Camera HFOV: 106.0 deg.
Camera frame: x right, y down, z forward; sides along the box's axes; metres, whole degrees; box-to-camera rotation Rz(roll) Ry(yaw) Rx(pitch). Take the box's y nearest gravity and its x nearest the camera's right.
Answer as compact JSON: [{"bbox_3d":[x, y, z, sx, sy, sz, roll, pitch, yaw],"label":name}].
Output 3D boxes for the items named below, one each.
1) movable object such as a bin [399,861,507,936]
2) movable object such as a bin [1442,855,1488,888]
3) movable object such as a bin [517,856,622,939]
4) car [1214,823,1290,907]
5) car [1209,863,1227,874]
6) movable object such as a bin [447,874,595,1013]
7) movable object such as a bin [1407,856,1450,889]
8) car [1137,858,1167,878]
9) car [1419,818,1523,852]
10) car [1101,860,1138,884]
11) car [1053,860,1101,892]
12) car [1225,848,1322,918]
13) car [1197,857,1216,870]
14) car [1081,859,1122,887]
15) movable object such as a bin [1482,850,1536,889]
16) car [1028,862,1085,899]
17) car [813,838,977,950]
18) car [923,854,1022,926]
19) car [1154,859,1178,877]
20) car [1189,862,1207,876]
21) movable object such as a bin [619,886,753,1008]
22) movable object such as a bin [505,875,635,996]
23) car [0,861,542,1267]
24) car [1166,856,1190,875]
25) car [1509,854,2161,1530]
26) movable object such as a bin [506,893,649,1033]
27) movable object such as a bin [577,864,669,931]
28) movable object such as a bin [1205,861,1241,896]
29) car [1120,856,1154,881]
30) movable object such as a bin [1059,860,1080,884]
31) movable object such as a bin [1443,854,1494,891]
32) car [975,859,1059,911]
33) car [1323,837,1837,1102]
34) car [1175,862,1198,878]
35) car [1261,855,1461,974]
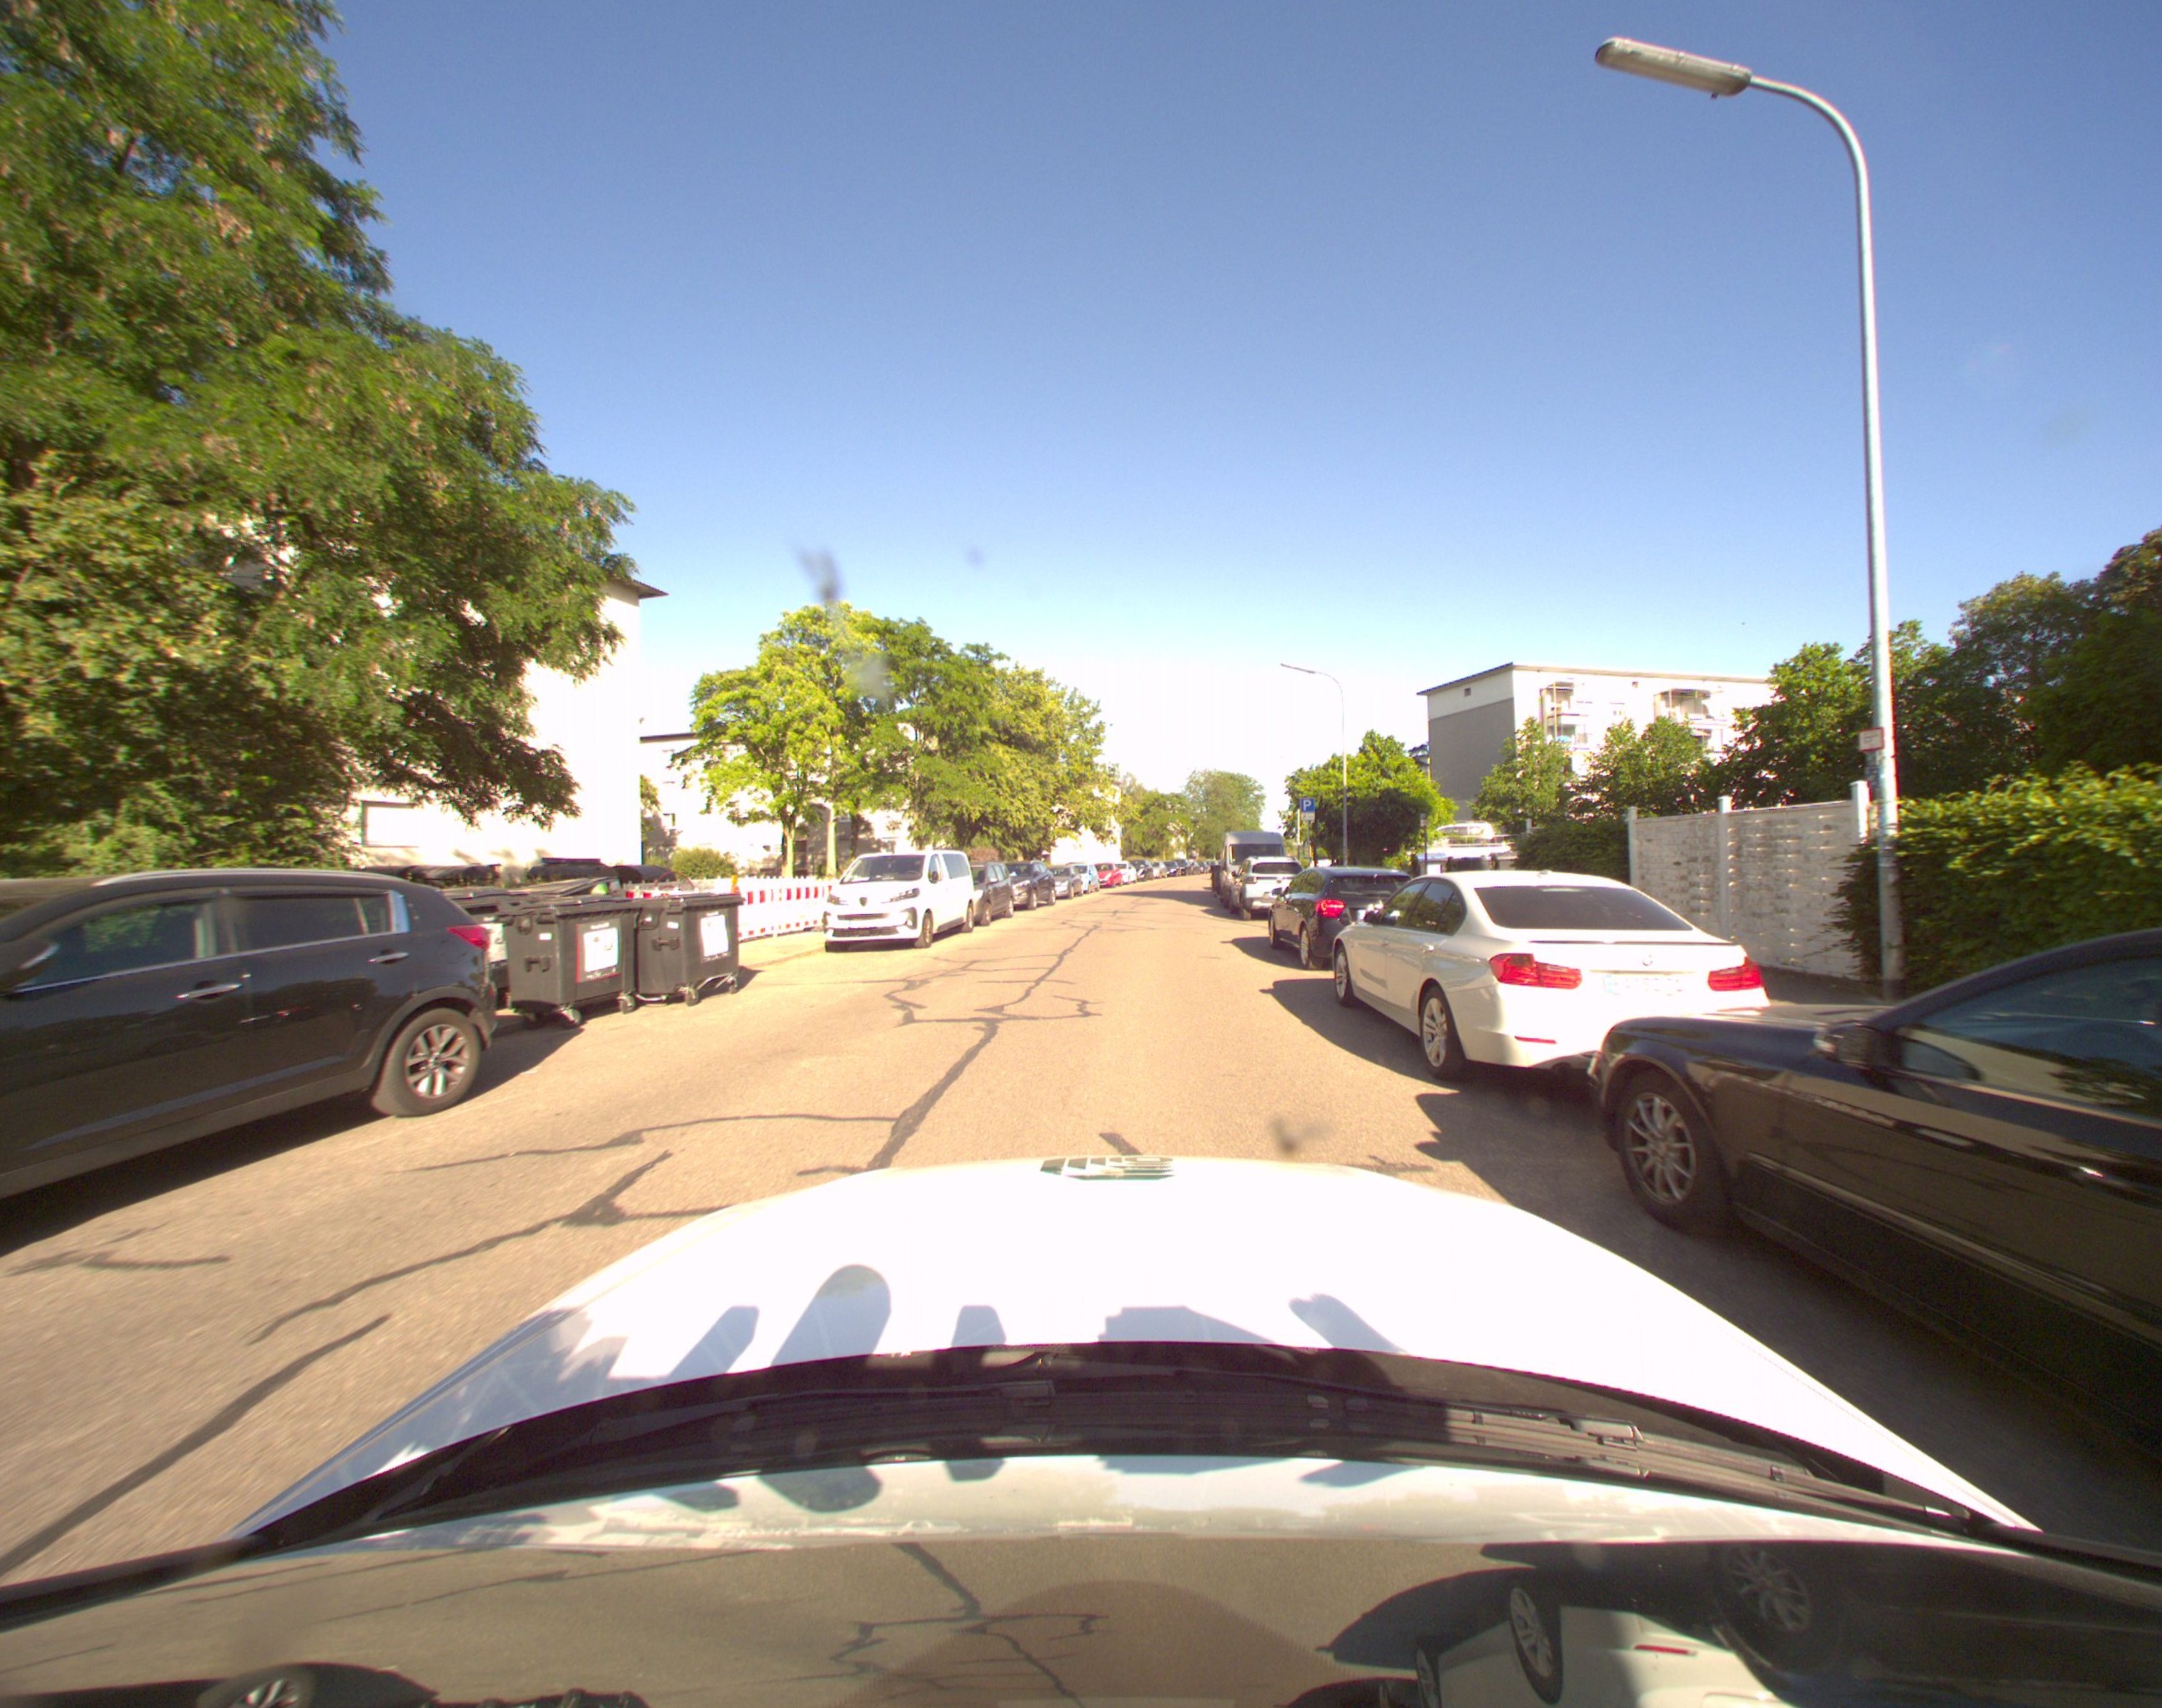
[{"bbox_3d":[-13.229,0.912,17.200,1.251,1.489,1.282,-1,-1,7],"label":"movable object such as a bin"},{"bbox_3d":[15.991,0.741,33.941,1.403,1.305,1.386,-2,-1,12],"label":"movable object such as a bin"},{"bbox_3d":[-10.094,0.832,16.134,1.254,1.551,1.279,-1,-1,0],"label":"movable object such as a bin"},{"bbox_3d":[5.587,0.358,27.274,2.093,2.486,5.868,0,-1,8],"label":"car"},{"bbox_3d":[17.131,1.793,101.630,1.497,1.364,3.484,-3,-1,19],"label":"car"},{"bbox_3d":[-6.298,0.970,9.225,1.059,1.468,0.892,0,-1,-5],"label":"movable object such as a bin"},{"bbox_3d":[14.579,0.779,34.239,1.403,1.305,1.386,-2,-1,12],"label":"movable object such as a bin"},{"bbox_3d":[5.751,1.080,65.597,1.648,1.486,4.069,-3,-1,15],"label":"car"},{"bbox_3d":[16.994,-0.792,35.673,3.721,1.316,1.861,-1,-1,8],"label":"car"},{"bbox_3d":[2.528,1.137,52.716,1.658,1.421,3.915,-2,-1,13],"label":"car"},{"bbox_3d":[-0.146,1.072,40.650,1.659,1.474,3.689,-3,-1,11],"label":"car"},{"bbox_3d":[5.024,0.731,21.834,1.900,1.666,4.381,-1,-1,5],"label":"car"},{"bbox_3d":[14.764,1.107,95.661,1.497,1.451,3.708,-3,-1,19],"label":"car"},{"bbox_3d":[1.233,1.094,47.204,1.659,1.474,3.689,-3,-1,11],"label":"car"},{"bbox_3d":[15.938,0.580,30.386,1.417,1.373,1.386,-3,-1,12],"label":"movable object such as a bin"},{"bbox_3d":[-0.994,1.111,35.450,1.660,1.437,4.010,-3,-1,9],"label":"car"},{"bbox_3d":[-3.618,0.732,16.846,1.854,1.961,4.678,-2,-1,6],"label":"car"},{"bbox_3d":[-2.827,0.896,22.167,1.547,1.722,4.350,-2,-1,8],"label":"car"},{"bbox_3d":[7.447,1.192,70.870,1.649,1.426,4.062,-3,-1,11],"label":"car"},{"bbox_3d":[12.803,1.670,88.989,1.378,1.413,3.138,-3,-1,16],"label":"car"},{"bbox_3d":[-4.774,1.090,9.931,0.798,1.316,1.325,-1,0,11],"label":"movable object such as a bin"},{"bbox_3d":[-6.321,0.977,10.137,1.059,1.400,0.892,0,-1,-5],"label":"movable object such as a bin"},{"bbox_3d":[-5.169,0.898,4.179,1.667,1.638,4.256,-3,-1,5],"label":"car"},{"bbox_3d":[9.141,1.083,76.475,1.648,1.688,4.065,-3,-1,15],"label":"car"},{"bbox_3d":[3.290,0.713,2.009,1.986,1.417,4.925,-1,-1,2],"label":"car"},{"bbox_3d":[-5.355,1.114,8.743,0.605,1.340,1.272,-1,-1,8],"label":"movable object such as a bin"},{"bbox_3d":[-10.098,0.937,18.003,1.270,1.402,1.263,-1,-1,3],"label":"movable object such as a bin"},{"bbox_3d":[5.704,0.983,32.676,1.259,1.313,1.127,-3,0,16],"label":"movable object such as a bin"},{"bbox_3d":[4.115,1.035,59.328,1.658,1.667,4.422,-3,-1,13],"label":"car"},{"bbox_3d":[-0.733,1.141,52.546,1.104,1.498,1.412,-1,0,9],"label":"movable object such as a bin"},{"bbox_3d":[14.507,0.683,30.537,1.403,1.305,1.386,-2,-1,12],"label":"movable object such as a bin"},{"bbox_3d":[-2.094,1.004,27.975,1.737,1.617,4.376,-2,-1,11],"label":"car"},{"bbox_3d":[3.475,0.698,6.837,1.900,1.488,4.381,-1,-1,5],"label":"car"},{"bbox_3d":[10.570,1.555,81.297,1.648,1.439,3.775,-3,-1,15],"label":"car"},{"bbox_3d":[4.062,0.805,12.628,1.900,1.488,4.381,-1,-1,5],"label":"car"}]
